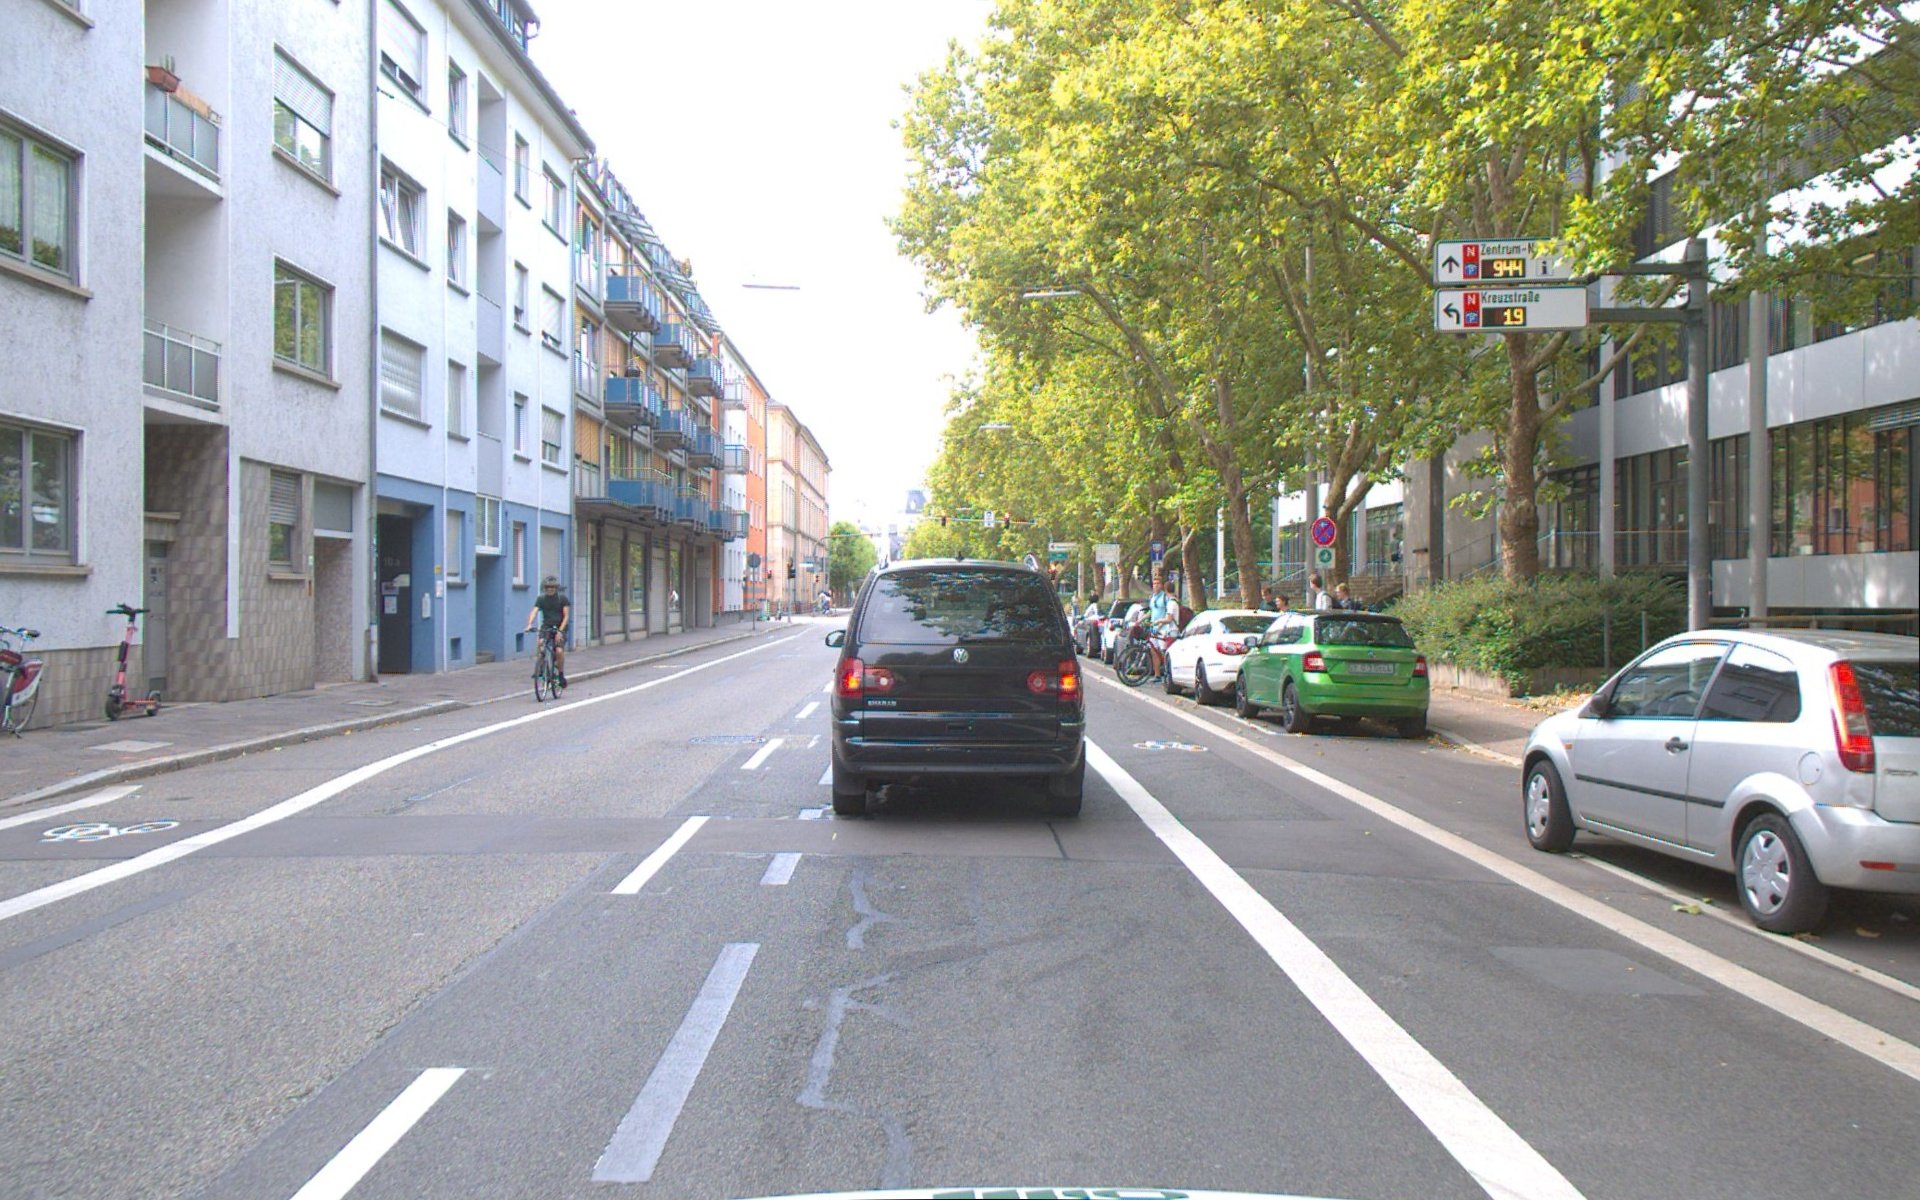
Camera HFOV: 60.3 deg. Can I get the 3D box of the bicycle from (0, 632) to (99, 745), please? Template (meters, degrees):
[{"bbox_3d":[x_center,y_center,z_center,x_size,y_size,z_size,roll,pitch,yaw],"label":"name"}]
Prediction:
[{"bbox_3d":[-8.861,0.810,15.642,0.585,0.967,1.662,1,0,-1],"label":"bicycle"}]

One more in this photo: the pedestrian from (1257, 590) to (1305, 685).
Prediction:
[{"bbox_3d":[5.846,0.677,30.157,0.706,1.687,0.655,1,0,-2],"label":"pedestrian"}]

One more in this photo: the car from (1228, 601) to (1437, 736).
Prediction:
[{"bbox_3d":[4.612,0.801,20.999,1.556,1.475,3.803,3,0,-3],"label":"car"}]

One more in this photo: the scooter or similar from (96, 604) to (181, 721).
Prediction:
[{"bbox_3d":[-9.097,0.673,18.341,0.342,1.243,1.201,1,0,-1],"label":"scooter or similar"}]

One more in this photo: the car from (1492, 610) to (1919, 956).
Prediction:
[{"bbox_3d":[4.605,0.847,9.327,1.611,1.472,3.878,2,0,-6],"label":"car"}]

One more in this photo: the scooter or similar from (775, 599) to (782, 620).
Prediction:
[{"bbox_3d":[-10.313,0.534,94.034,0.370,1.164,1.140,0,-1,-5],"label":"scooter or similar"}]

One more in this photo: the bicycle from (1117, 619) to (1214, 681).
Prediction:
[{"bbox_3d":[3.844,0.937,30.976,1.704,1.125,0.550,1,0,-13],"label":"bicycle"}]

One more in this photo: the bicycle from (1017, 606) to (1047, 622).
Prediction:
[{"bbox_3d":[4.770,0.935,109.171,1.892,1.046,0.581,1,0,-15],"label":"bicycle"}]

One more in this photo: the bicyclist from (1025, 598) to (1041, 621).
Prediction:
[{"bbox_3d":[4.812,0.614,109.174,0.899,1.492,0.568,1,0,-14],"label":"bicyclist"}]

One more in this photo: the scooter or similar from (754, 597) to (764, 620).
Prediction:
[{"bbox_3d":[-10.595,0.464,87.222,0.370,1.204,1.389,0,-1,-1],"label":"scooter or similar"}]

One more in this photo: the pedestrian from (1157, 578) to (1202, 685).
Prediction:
[{"bbox_3d":[3.900,0.554,29.433,0.511,1.877,0.741,1,0,-16],"label":"pedestrian"}]

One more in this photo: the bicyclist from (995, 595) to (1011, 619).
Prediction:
[{"bbox_3d":[2.774,0.458,107.532,0.898,1.492,0.568,1,0,-11],"label":"bicyclist"}]

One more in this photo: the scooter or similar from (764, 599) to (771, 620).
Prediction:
[{"bbox_3d":[-10.900,0.522,93.574,0.370,1.167,1.140,0,-1,-5],"label":"scooter or similar"}]

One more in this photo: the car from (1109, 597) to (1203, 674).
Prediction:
[{"bbox_3d":[4.173,0.715,35.589,1.497,1.528,3.659,2,0,-1],"label":"car"}]

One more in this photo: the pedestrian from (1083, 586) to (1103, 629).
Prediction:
[{"bbox_3d":[5.813,0.326,72.457,0.700,1.831,1.033,-2,0,-3],"label":"pedestrian"}]

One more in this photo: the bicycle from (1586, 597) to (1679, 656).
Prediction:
[{"bbox_3d":[13.527,0.530,33.265,1.642,1.137,0.603,-1,0,-8],"label":"bicycle"}]

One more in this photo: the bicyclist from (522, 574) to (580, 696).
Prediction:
[{"bbox_3d":[-6.341,0.530,25.686,0.638,1.842,1.045,-1,0,-1],"label":"bicyclist"}]

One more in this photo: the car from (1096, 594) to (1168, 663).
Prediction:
[{"bbox_3d":[4.182,0.675,40.427,1.504,1.570,2.599,2,0,1],"label":"car"}]

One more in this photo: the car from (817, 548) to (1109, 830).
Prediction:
[{"bbox_3d":[-0.072,0.553,12.730,1.836,1.775,4.571,0,0,-2],"label":"car"}]

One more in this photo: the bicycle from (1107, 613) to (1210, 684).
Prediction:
[{"bbox_3d":[3.552,0.869,29.632,1.762,1.238,0.550,1,0,-19],"label":"bicycle"}]

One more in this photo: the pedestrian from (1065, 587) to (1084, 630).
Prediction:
[{"bbox_3d":[5.008,0.371,72.487,0.696,1.814,1.033,-2,0,-3],"label":"pedestrian"}]

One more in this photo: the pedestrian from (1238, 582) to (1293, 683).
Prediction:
[{"bbox_3d":[5.707,0.607,30.935,0.853,1.848,0.780,1,0,-2],"label":"pedestrian"}]

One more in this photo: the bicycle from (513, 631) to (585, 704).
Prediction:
[{"bbox_3d":[-6.327,1.025,25.582,0.633,1.032,2.076,-1,0,-1],"label":"bicycle"}]

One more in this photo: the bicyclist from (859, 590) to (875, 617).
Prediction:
[{"bbox_3d":[-5.641,0.207,100.236,0.839,1.594,0.576,1,-1,-10],"label":"bicyclist"}]

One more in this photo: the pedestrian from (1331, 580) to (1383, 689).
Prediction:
[{"bbox_3d":[7.017,0.594,29.229,0.706,1.887,0.703,1,0,-2],"label":"pedestrian"}]

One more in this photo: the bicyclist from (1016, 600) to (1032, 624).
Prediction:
[{"bbox_3d":[4.101,0.766,106.282,0.898,1.492,0.568,1,0,-12],"label":"bicyclist"}]

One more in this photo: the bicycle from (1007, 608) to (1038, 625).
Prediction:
[{"bbox_3d":[4.025,1.071,106.267,1.890,1.046,0.582,1,0,-12],"label":"bicycle"}]

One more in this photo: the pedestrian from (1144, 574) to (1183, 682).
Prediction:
[{"bbox_3d":[3.772,0.511,30.702,0.466,1.968,0.742,1,0,-12],"label":"pedestrian"}]

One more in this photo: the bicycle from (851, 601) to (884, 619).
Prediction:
[{"bbox_3d":[-5.603,0.580,100.234,1.889,1.046,0.582,1,0,-10],"label":"bicycle"}]

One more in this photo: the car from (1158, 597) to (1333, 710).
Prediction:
[{"bbox_3d":[4.355,0.763,25.884,1.647,1.542,4.541,3,0,-3],"label":"car"}]

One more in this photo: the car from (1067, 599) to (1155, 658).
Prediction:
[{"bbox_3d":[4.009,0.726,44.443,1.664,1.450,4.419,2,0,-4],"label":"car"}]

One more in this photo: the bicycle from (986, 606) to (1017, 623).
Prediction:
[{"bbox_3d":[2.693,0.947,107.514,1.890,1.046,0.582,1,0,-12],"label":"bicycle"}]

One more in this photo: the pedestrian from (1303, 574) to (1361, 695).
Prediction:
[{"bbox_3d":[6.401,0.581,28.480,0.777,2.032,0.749,1,0,-2],"label":"pedestrian"}]
